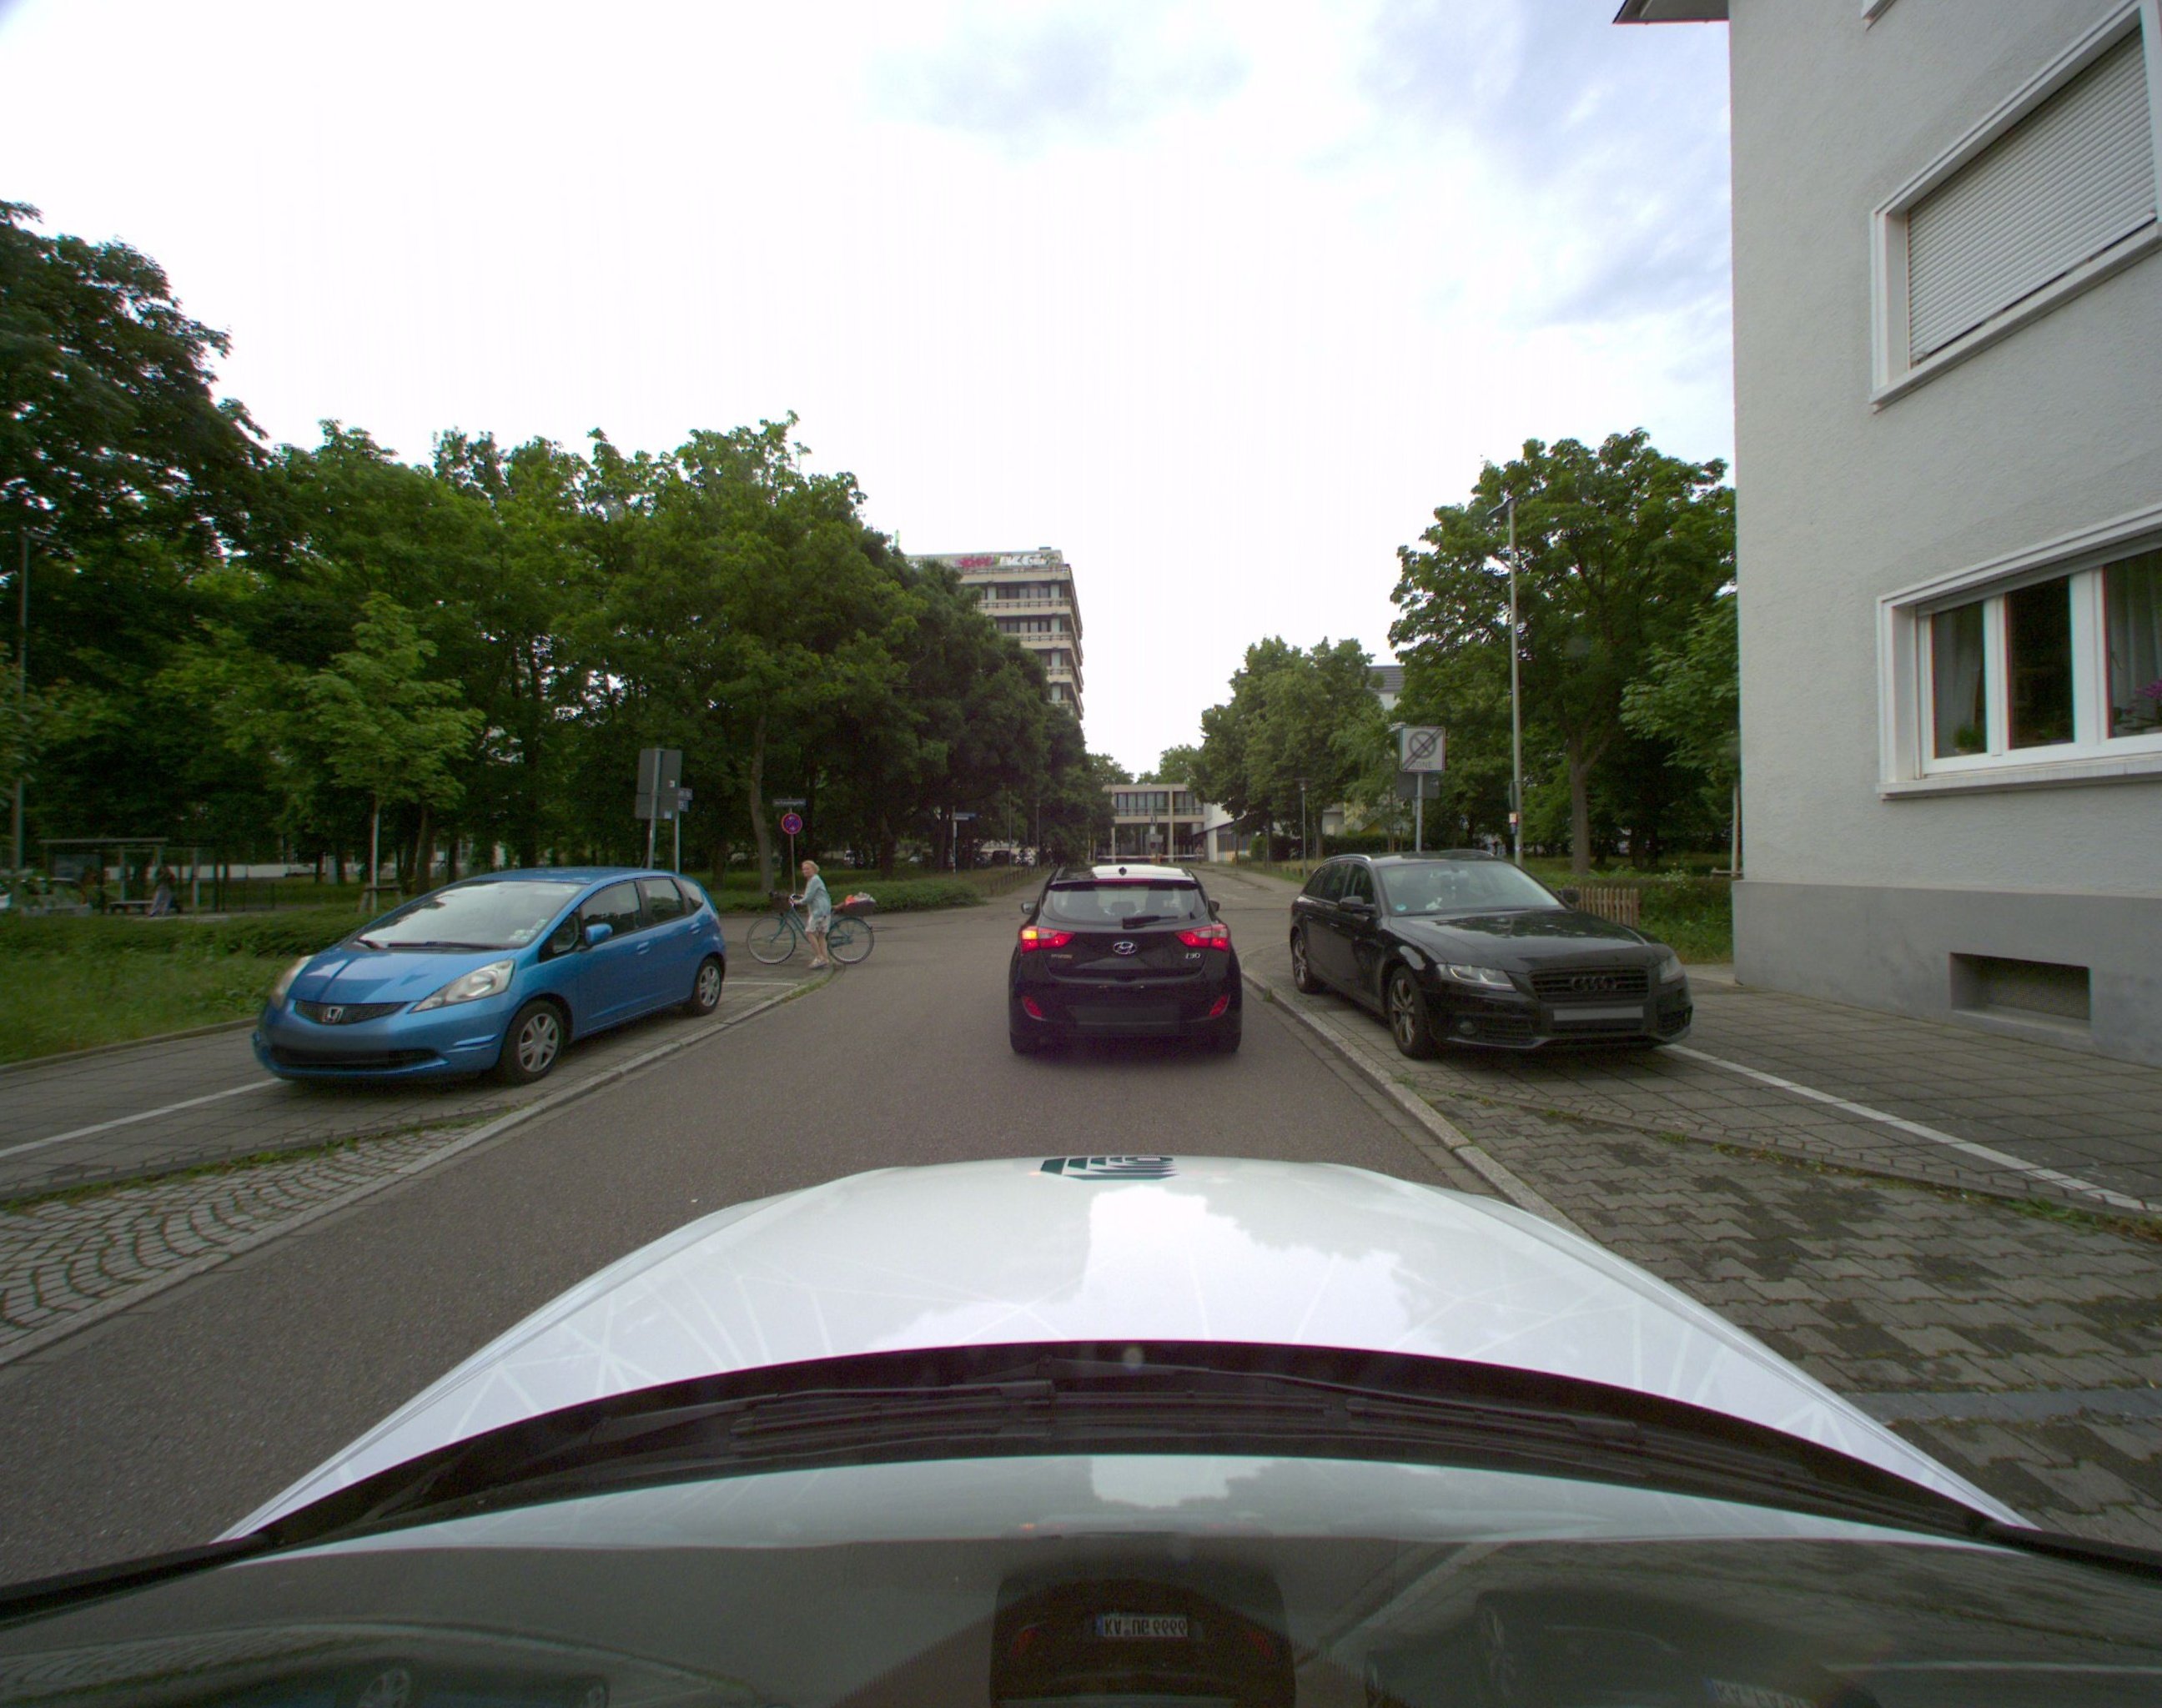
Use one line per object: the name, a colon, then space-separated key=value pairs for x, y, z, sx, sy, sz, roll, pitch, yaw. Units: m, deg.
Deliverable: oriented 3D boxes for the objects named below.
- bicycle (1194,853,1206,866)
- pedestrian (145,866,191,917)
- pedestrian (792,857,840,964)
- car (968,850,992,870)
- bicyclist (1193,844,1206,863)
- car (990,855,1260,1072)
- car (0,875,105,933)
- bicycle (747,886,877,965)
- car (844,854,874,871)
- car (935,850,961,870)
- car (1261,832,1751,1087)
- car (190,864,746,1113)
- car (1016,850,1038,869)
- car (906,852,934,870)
bicycle: x=10.496 y=0.450 z=72.073 sx=0.863 sy=1.074 sz=2.143 roll=-1 pitch=0 yaw=3
pedestrian: x=-29.113 y=1.180 z=25.973 sx=0.693 sy=1.583 sz=0.656 roll=-1 pitch=0 yaw=3
pedestrian: x=-3.937 y=0.822 z=12.110 sx=0.565 sy=1.549 sz=0.447 roll=-1 pitch=0 yaw=-6
car: x=-9.802 y=0.572 z=79.366 sx=1.988 sy=1.794 sz=3.996 roll=-1 pitch=-2 yaw=-2
bicyclist: x=10.491 y=-0.069 z=72.179 sx=1.013 sy=1.644 sz=0.924 roll=-1 pitch=0 yaw=2
car: x=0.296 y=0.765 z=7.523 sx=1.840 sy=1.462 sz=3.826 roll=-1 pitch=0 yaw=0
car: x=-28.704 y=1.320 z=21.656 sx=3.521 sy=1.437 sz=1.567 roll=-1 pitch=0 yaw=-1
bicycle: x=-4.100 y=1.077 z=12.503 sx=1.810 sy=1.119 sz=0.536 roll=-1 pitch=0 yaw=-7
car: x=-21.776 y=0.828 z=79.916 sx=1.913 sy=1.618 sz=3.997 roll=-1 pitch=0 yaw=-2
car: x=-12.907 y=0.609 z=79.111 sx=1.988 sy=1.728 sz=3.996 roll=-1 pitch=-2 yaw=-2
car: x=3.079 y=0.631 z=7.249 sx=1.854 sy=1.462 sz=4.725 roll=-2 pitch=0 yaw=0
car: x=-4.641 y=0.861 z=7.066 sx=1.724 sy=1.462 sz=3.958 roll=1 pitch=0 yaw=1
car: x=-5.222 y=0.515 z=79.319 sx=1.988 sy=1.762 sz=3.996 roll=-1 pitch=-1 yaw=-2
car: x=-15.615 y=0.647 z=79.243 sx=1.988 sy=1.618 sz=3.997 roll=-1 pitch=0 yaw=-2
